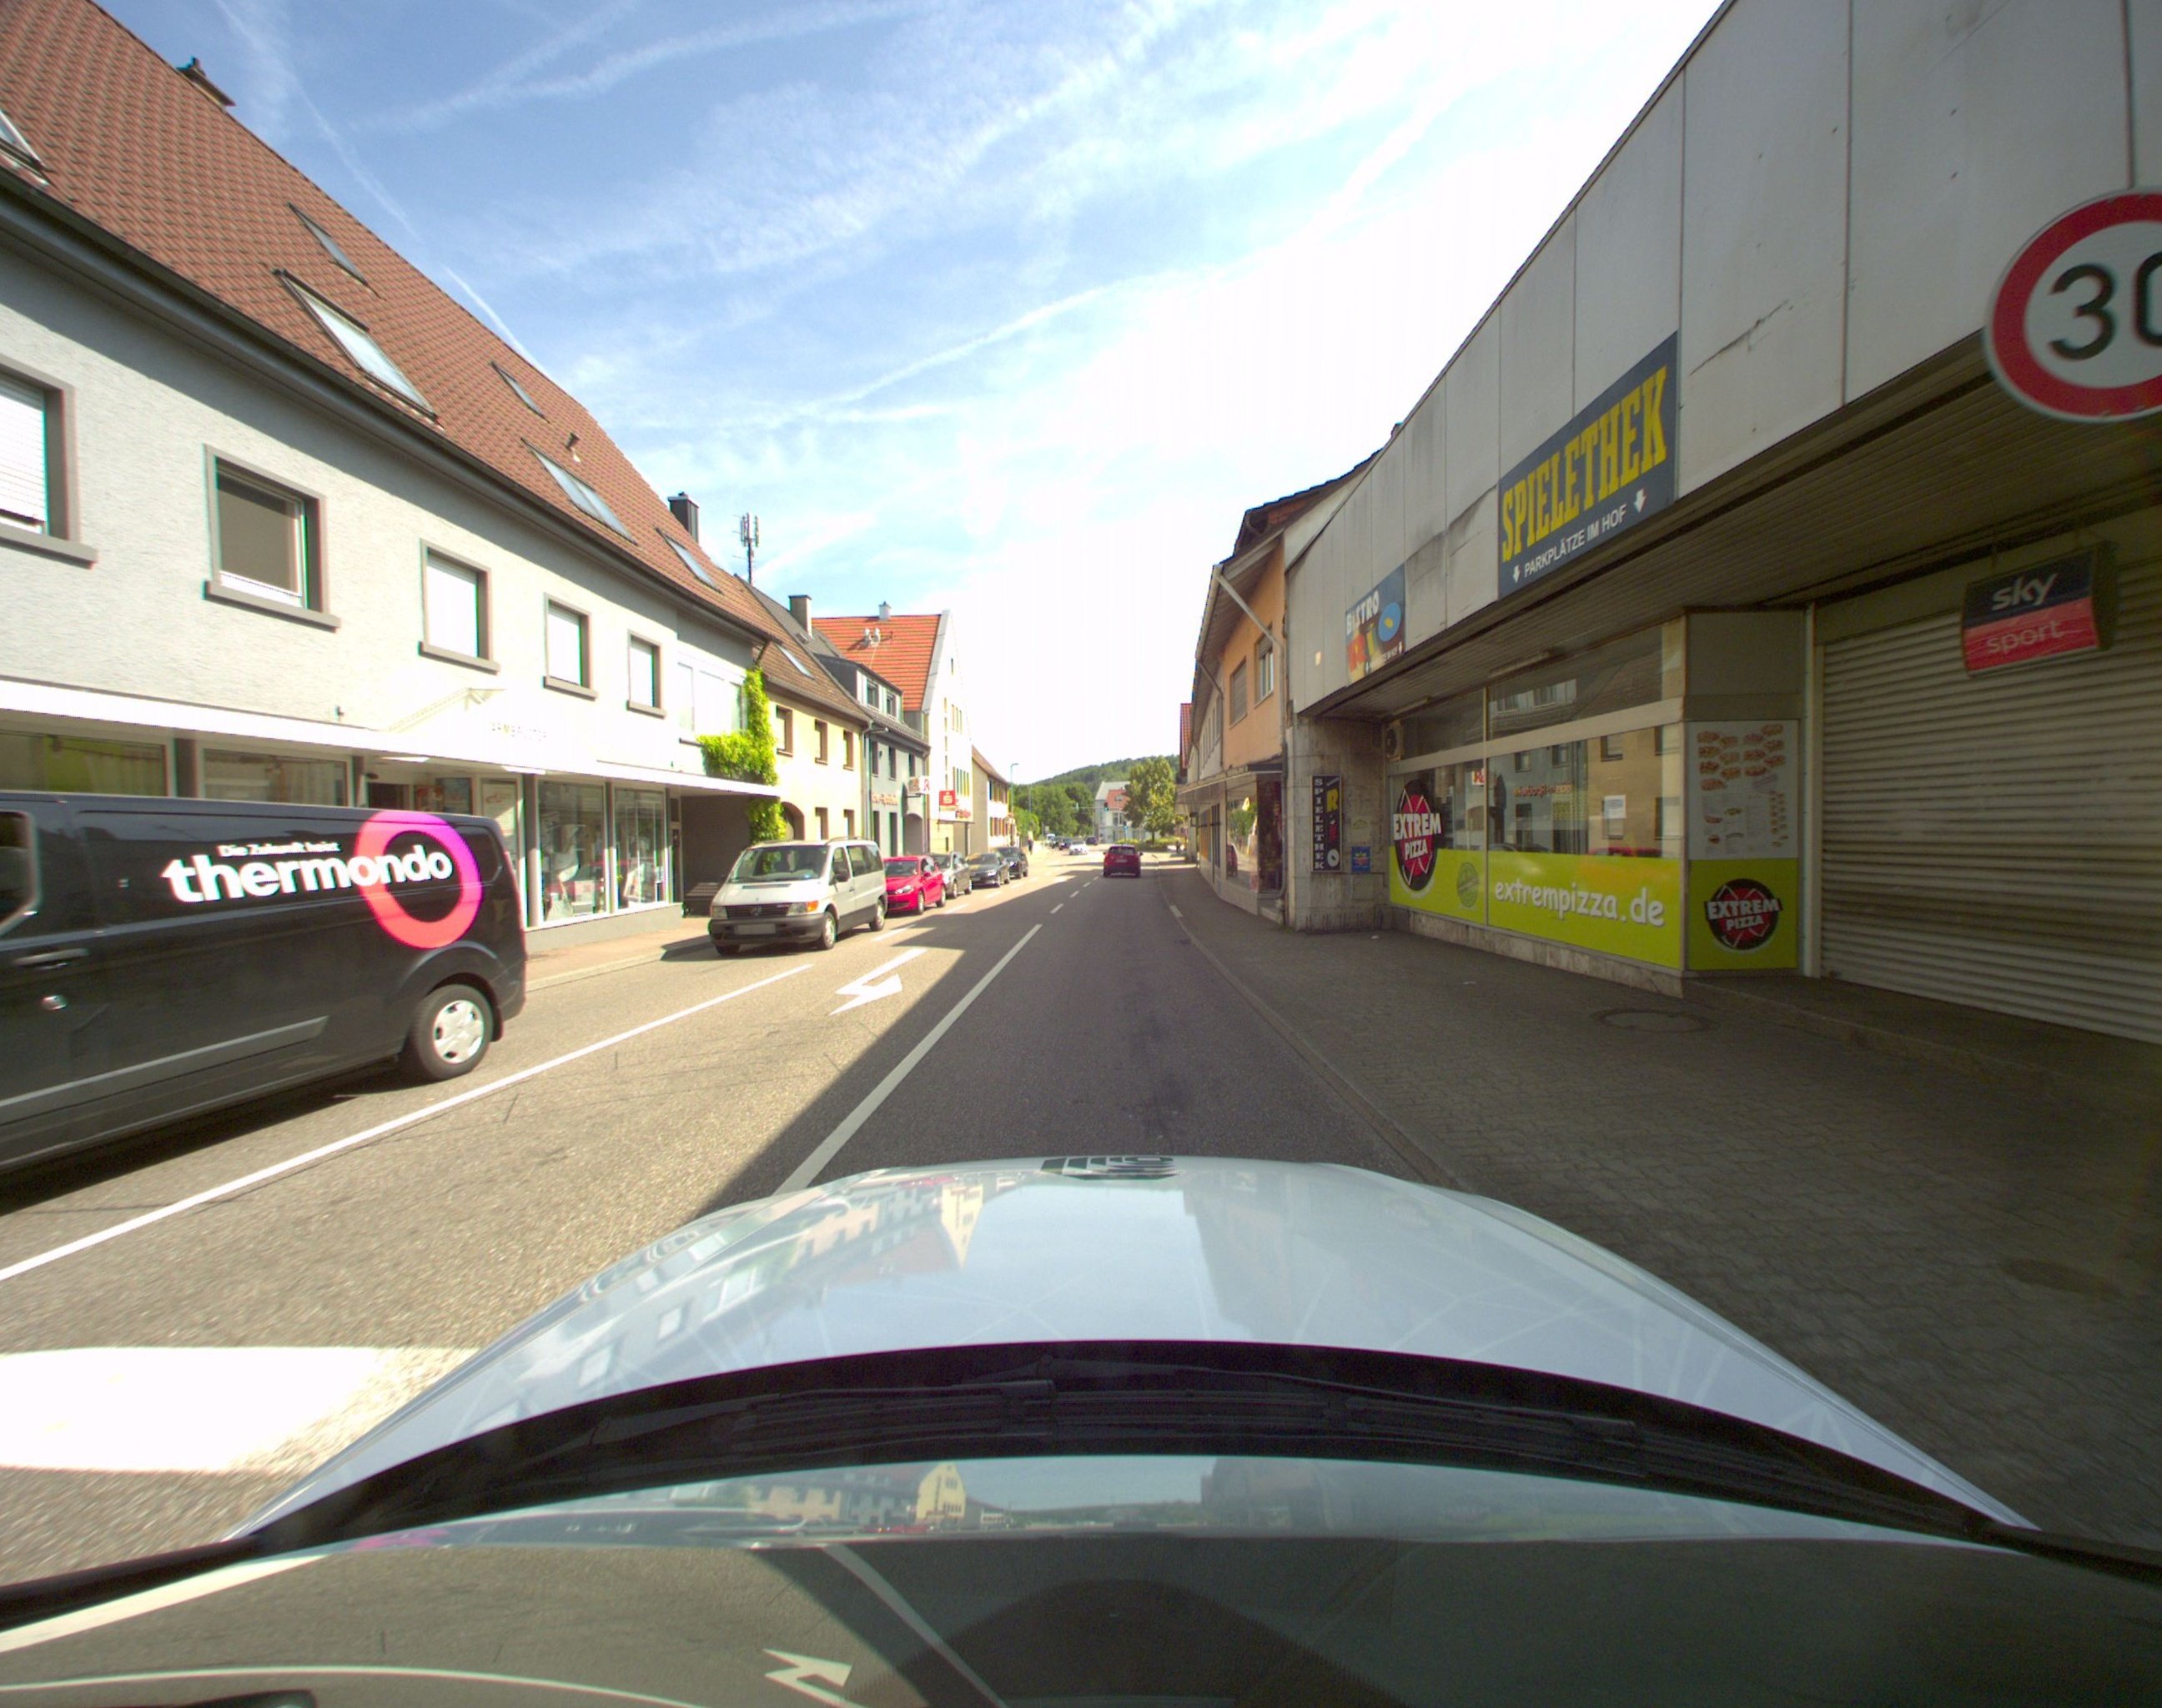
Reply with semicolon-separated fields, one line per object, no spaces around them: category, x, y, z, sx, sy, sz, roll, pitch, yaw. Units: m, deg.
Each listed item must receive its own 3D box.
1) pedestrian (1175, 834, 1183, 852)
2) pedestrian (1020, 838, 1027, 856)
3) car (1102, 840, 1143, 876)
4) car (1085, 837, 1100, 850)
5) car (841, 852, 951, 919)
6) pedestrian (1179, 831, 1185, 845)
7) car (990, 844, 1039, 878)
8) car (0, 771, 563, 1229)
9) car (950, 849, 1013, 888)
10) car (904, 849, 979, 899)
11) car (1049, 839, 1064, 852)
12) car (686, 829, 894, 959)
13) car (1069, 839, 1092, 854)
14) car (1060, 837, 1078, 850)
pedestrian;9.417;-1.065;78.377;0.640;1.707;0.700;-2;-1;-2
pedestrian;-5.869;-0.740;83.371;0.663;1.824;0.798;-2;-1;-2
car;2.182;0.165;41.725;1.850;1.714;4.429;0;1;5
car;1.793;-1.601;126.163;1.923;1.794;3.961;-2;-1;4
car;-4.704;0.742;21.298;1.752;1.492;4.079;-3;1;2
pedestrian;13.916;-2.216;112.247;0.640;1.879;0.652;-2;-1;-2
car;-3.376;0.306;42.251;1.859;1.589;4.522;-3;1;3
car;-5.591;0.644;4.297;2.150;1.923;5.169;-3;1;2
car;-4.121;0.554;34.410;1.781;1.450;4.428;-3;1;3
car;-4.742;0.631;28.155;1.622;1.520;4.023;-3;1;3
car;-3.457;-1.205;115.201;1.767;1.784;3.841;-2;-1;2
car;-4.939;0.579;14.634;1.876;1.890;4.554;-3;1;2
car;0.003;-0.827;85.830;1.978;1.444;5.107;-2;1;4
car;-1.500;-1.376;104.528;1.831;1.532;4.258;-2;3;4
